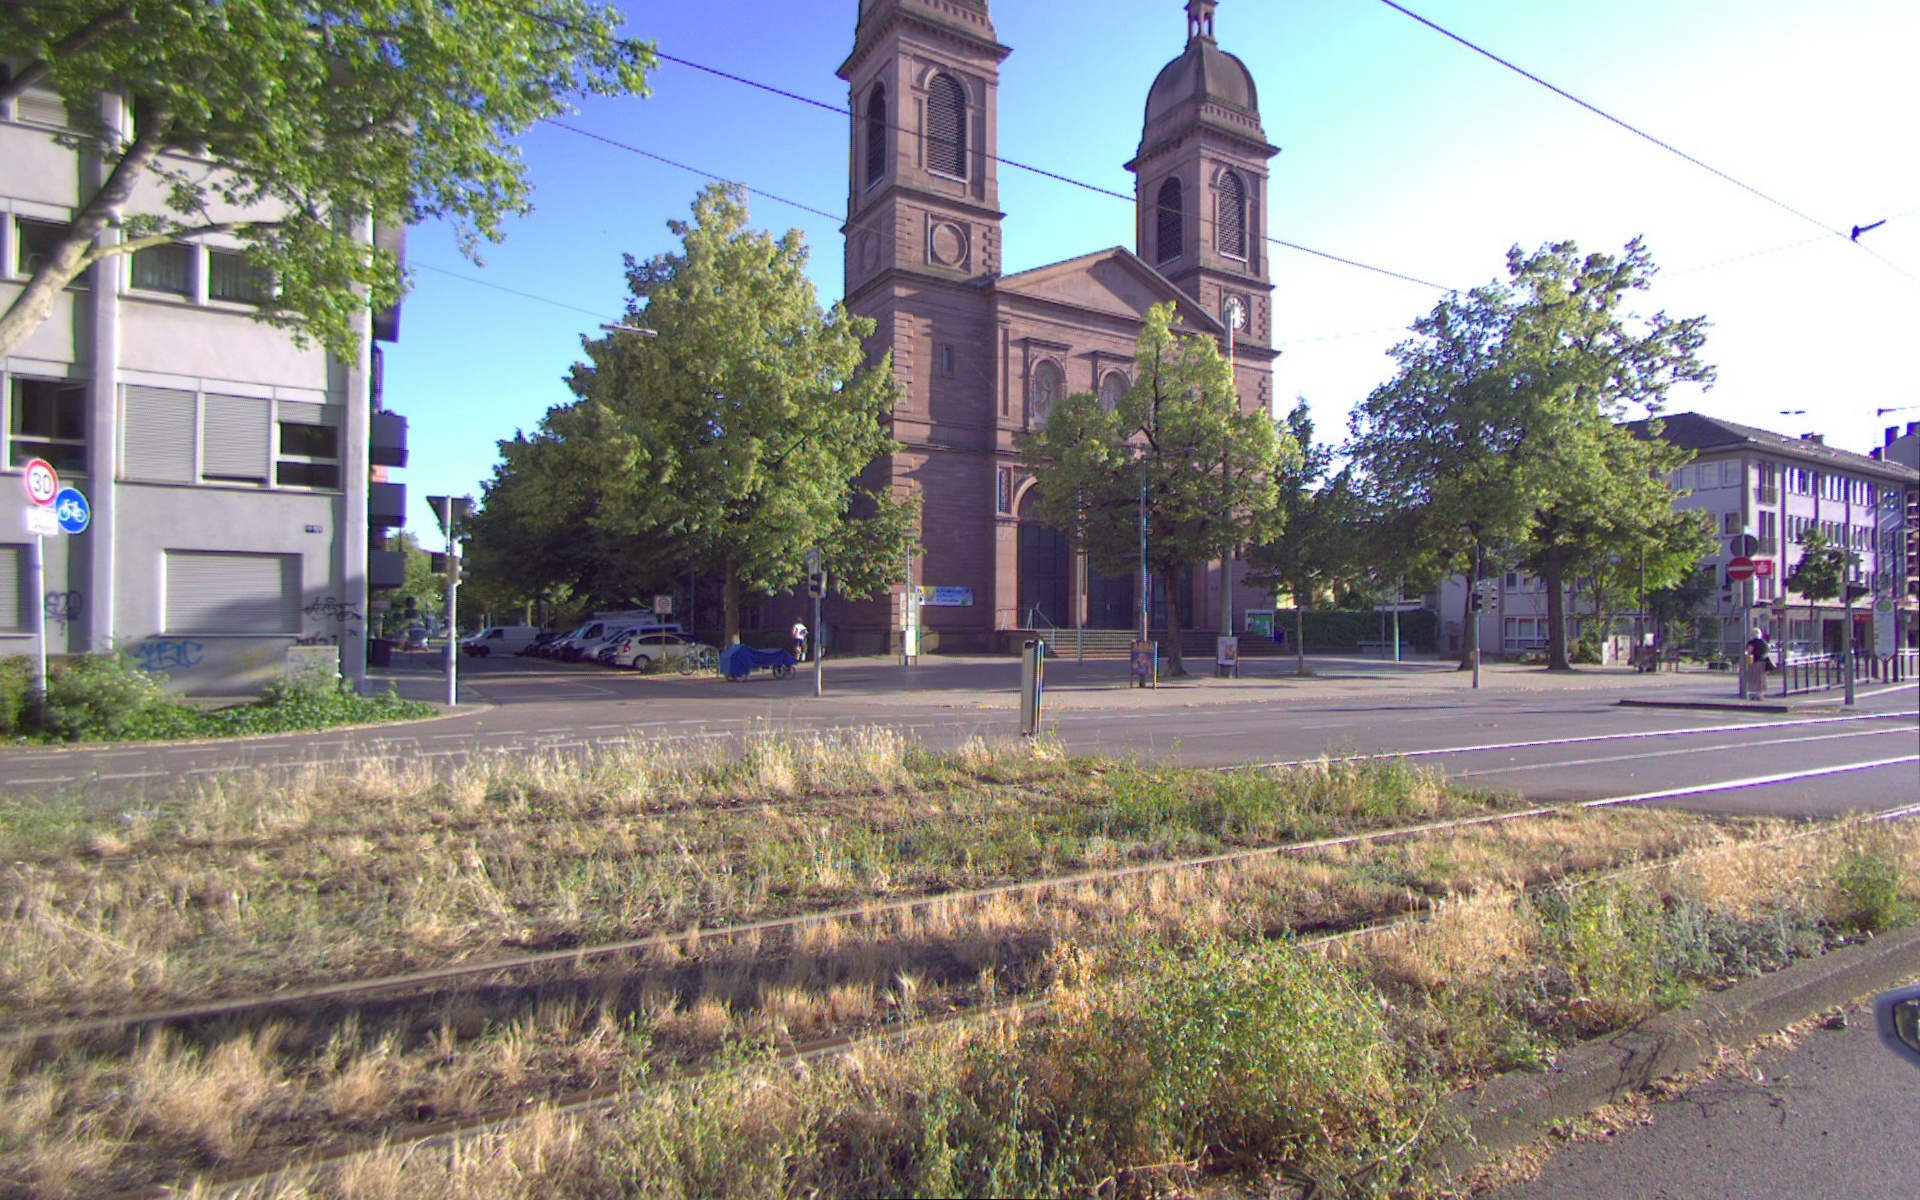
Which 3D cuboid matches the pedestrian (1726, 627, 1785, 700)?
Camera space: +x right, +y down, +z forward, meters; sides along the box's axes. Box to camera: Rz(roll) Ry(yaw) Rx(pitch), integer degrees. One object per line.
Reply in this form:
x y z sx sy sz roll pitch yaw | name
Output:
19.794 1.562 25.000 0.822 1.783 0.915 2 -2 -29 | pedestrian

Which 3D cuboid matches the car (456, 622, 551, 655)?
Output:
-29.997 2.522 66.119 1.973 2.040 5.393 -1 -2 44 | car

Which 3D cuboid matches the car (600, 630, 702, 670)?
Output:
-13.493 2.165 43.952 3.953 1.639 1.876 1 -2 -30 | car

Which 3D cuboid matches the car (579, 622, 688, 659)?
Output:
-15.652 1.919 48.160 4.655 1.684 1.984 1 -2 -30 | car

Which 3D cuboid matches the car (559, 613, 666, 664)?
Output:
-18.321 2.018 53.026 5.054 2.551 1.984 1 -2 -30 | car

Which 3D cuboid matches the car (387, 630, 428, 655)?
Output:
-46.987 3.577 85.409 1.985 2.040 5.360 2 -2 -41 | car

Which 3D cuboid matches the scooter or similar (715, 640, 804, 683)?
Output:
-6.124 1.861 30.697 2.419 1.141 1.088 -1 0 -30 | scooter or similar

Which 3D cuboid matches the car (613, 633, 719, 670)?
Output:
-12.204 2.123 41.756 3.953 1.416 1.802 0 -1 -30 | car

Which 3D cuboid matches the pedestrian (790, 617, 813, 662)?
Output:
-6.317 1.561 40.062 0.684 1.789 0.733 1 -1 -31 | pedestrian
